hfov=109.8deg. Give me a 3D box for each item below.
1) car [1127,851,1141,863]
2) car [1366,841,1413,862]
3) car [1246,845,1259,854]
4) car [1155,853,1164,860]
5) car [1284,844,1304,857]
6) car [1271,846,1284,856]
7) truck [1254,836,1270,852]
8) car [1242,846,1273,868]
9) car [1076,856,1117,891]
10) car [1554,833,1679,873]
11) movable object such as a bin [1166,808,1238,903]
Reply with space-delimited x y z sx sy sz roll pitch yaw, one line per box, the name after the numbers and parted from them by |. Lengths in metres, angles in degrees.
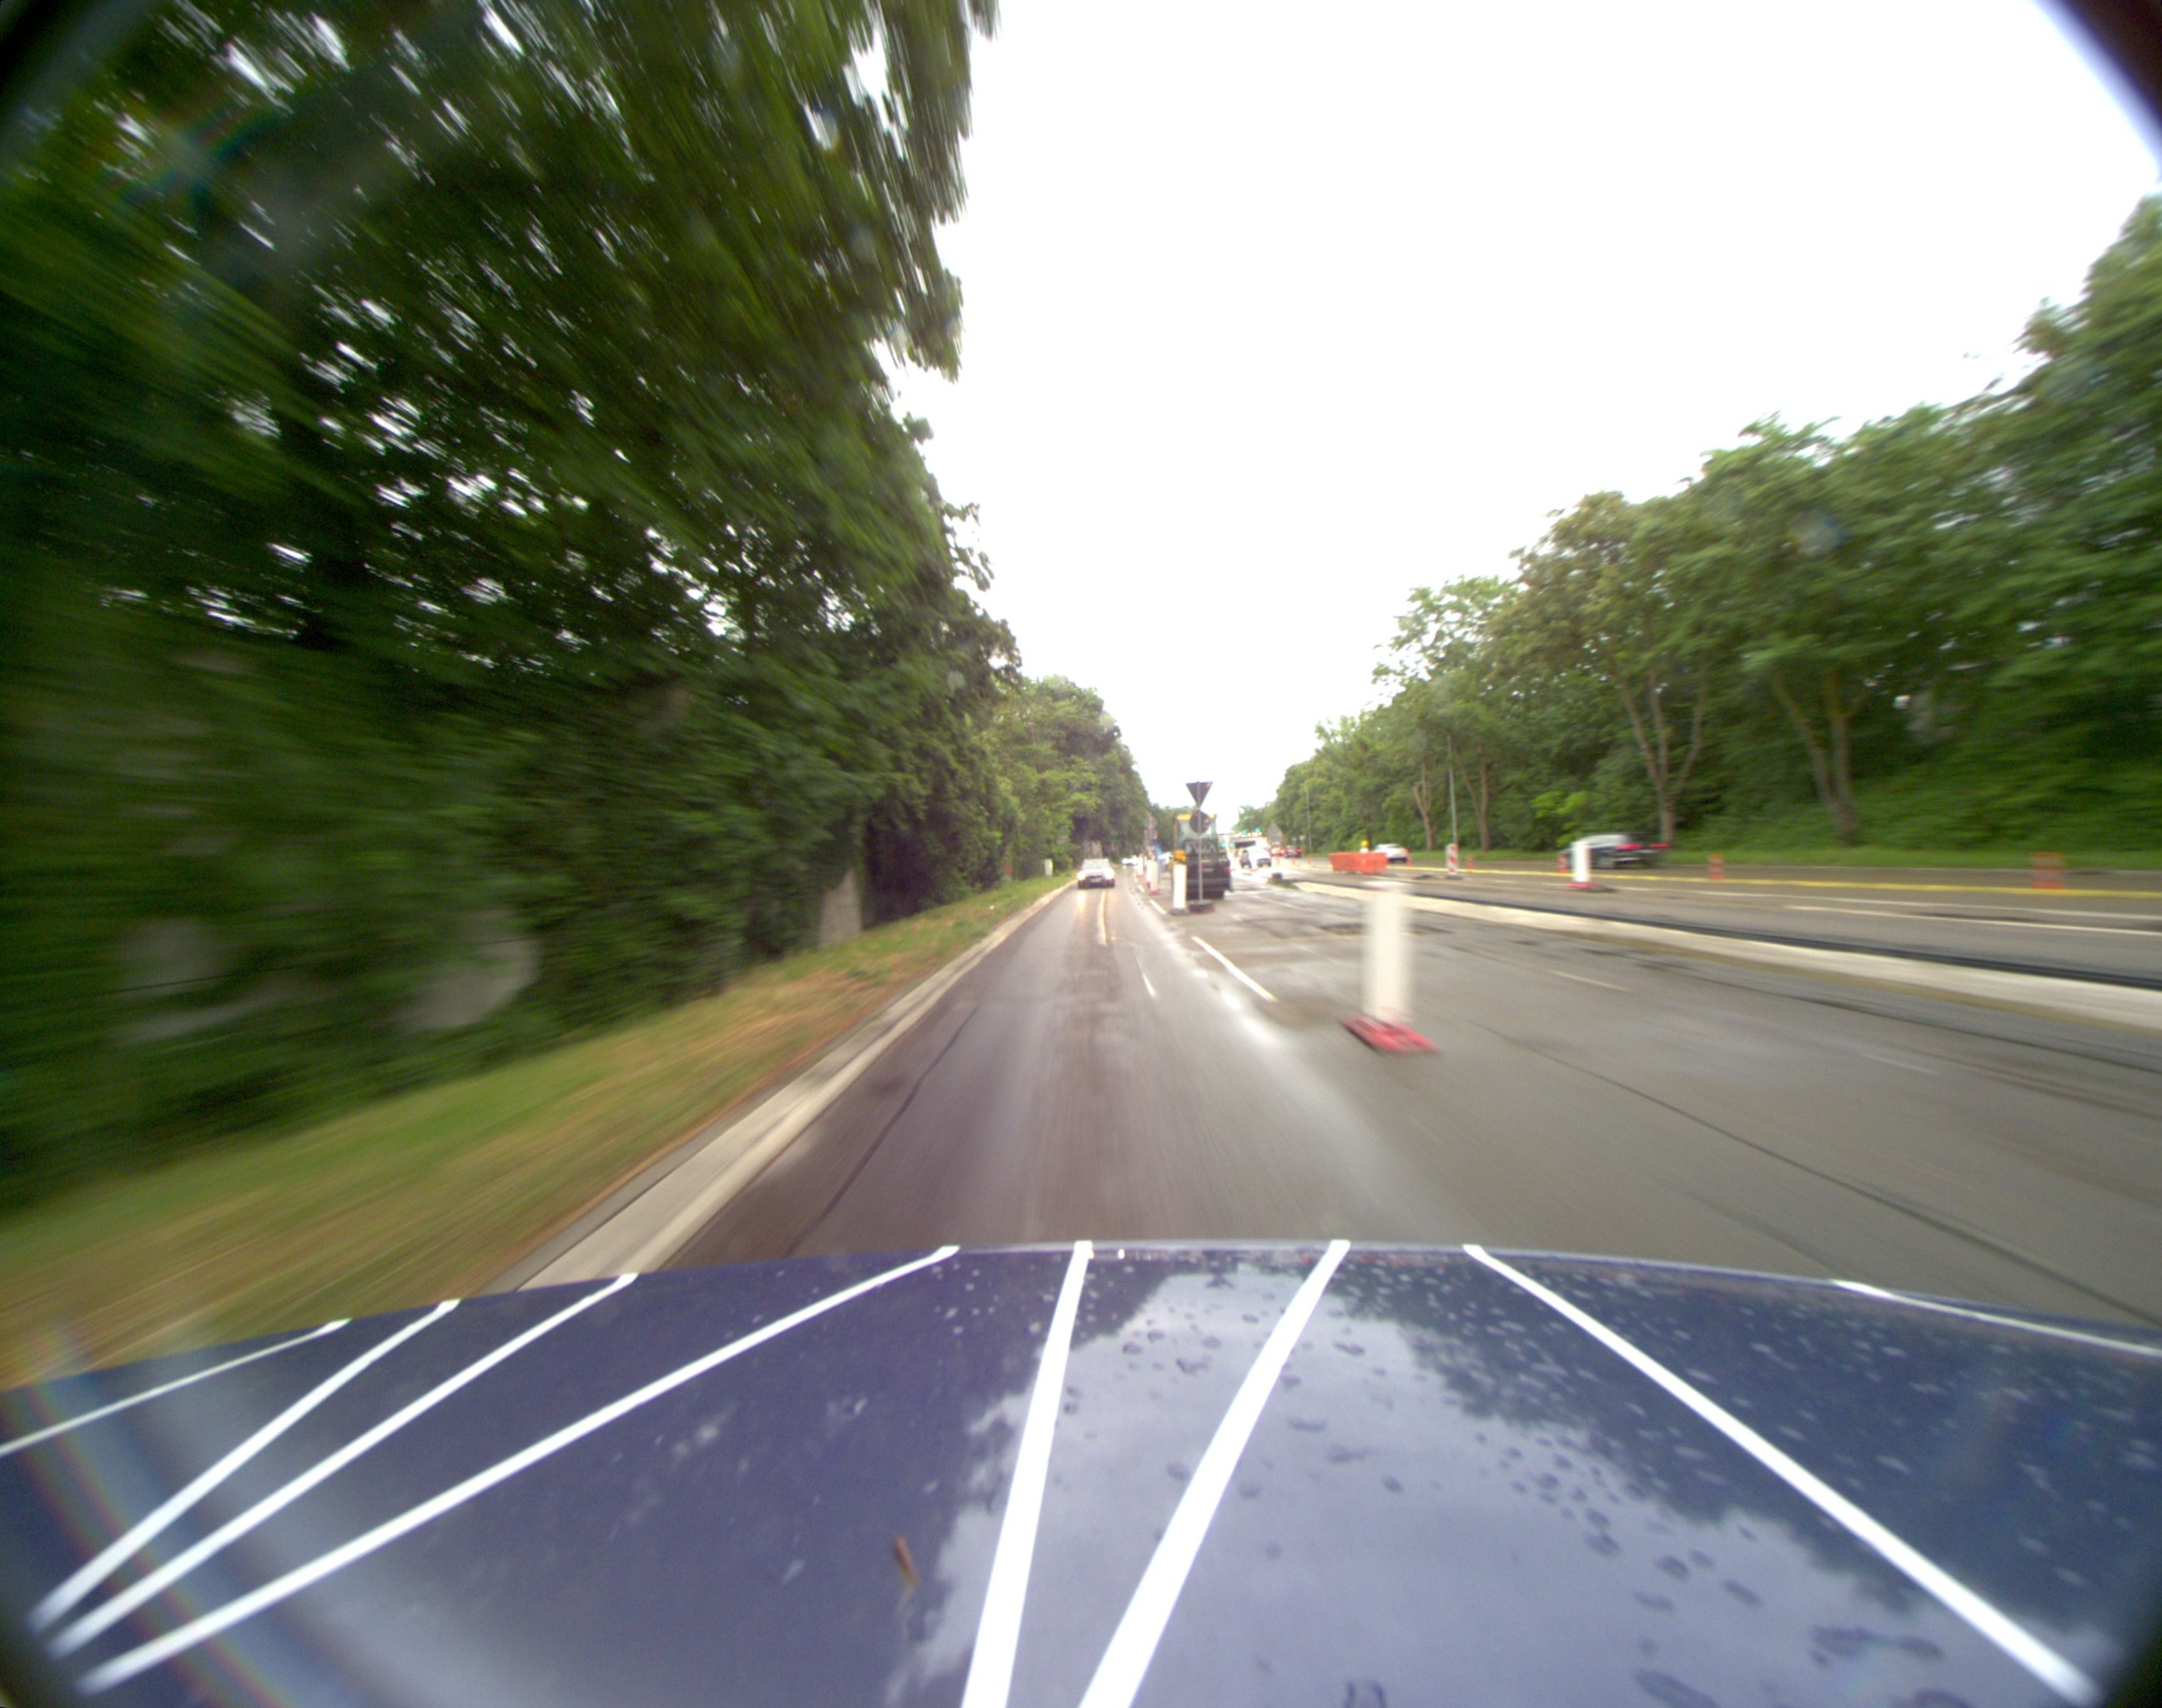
7.684 0.421 110.070 1.706 1.681 4.474 -2 1 8 | car
22.989 -0.219 56.727 1.788 1.418 4.469 -3 0 2 | car
30.629 -0.819 135.934 1.678 1.604 3.771 -2 0 5 | car
18.188 0.627 175.843 1.710 1.434 4.233 -2 1 8 | car
28.747 -0.459 102.687 1.678 1.604 4.768 -2 0 4 | car
32.058 -0.470 124.085 1.624 1.475 3.610 -2 0 9 | car
45.473 -2.500 190.985 3.149 3.809 9.651 -2 1 10 | truck
14.174 0.230 61.113 1.793 1.575 3.862 -4 0 4 | car
0.796 0.922 36.975 1.701 1.477 4.001 -2 1 5 | car
21.837 -0.046 31.254 1.788 1.444 4.681 -3 0 0 | car
4.182 0.031 27.041 1.808 2.968 5.246 -3 0 3 | movable object such as a bin
